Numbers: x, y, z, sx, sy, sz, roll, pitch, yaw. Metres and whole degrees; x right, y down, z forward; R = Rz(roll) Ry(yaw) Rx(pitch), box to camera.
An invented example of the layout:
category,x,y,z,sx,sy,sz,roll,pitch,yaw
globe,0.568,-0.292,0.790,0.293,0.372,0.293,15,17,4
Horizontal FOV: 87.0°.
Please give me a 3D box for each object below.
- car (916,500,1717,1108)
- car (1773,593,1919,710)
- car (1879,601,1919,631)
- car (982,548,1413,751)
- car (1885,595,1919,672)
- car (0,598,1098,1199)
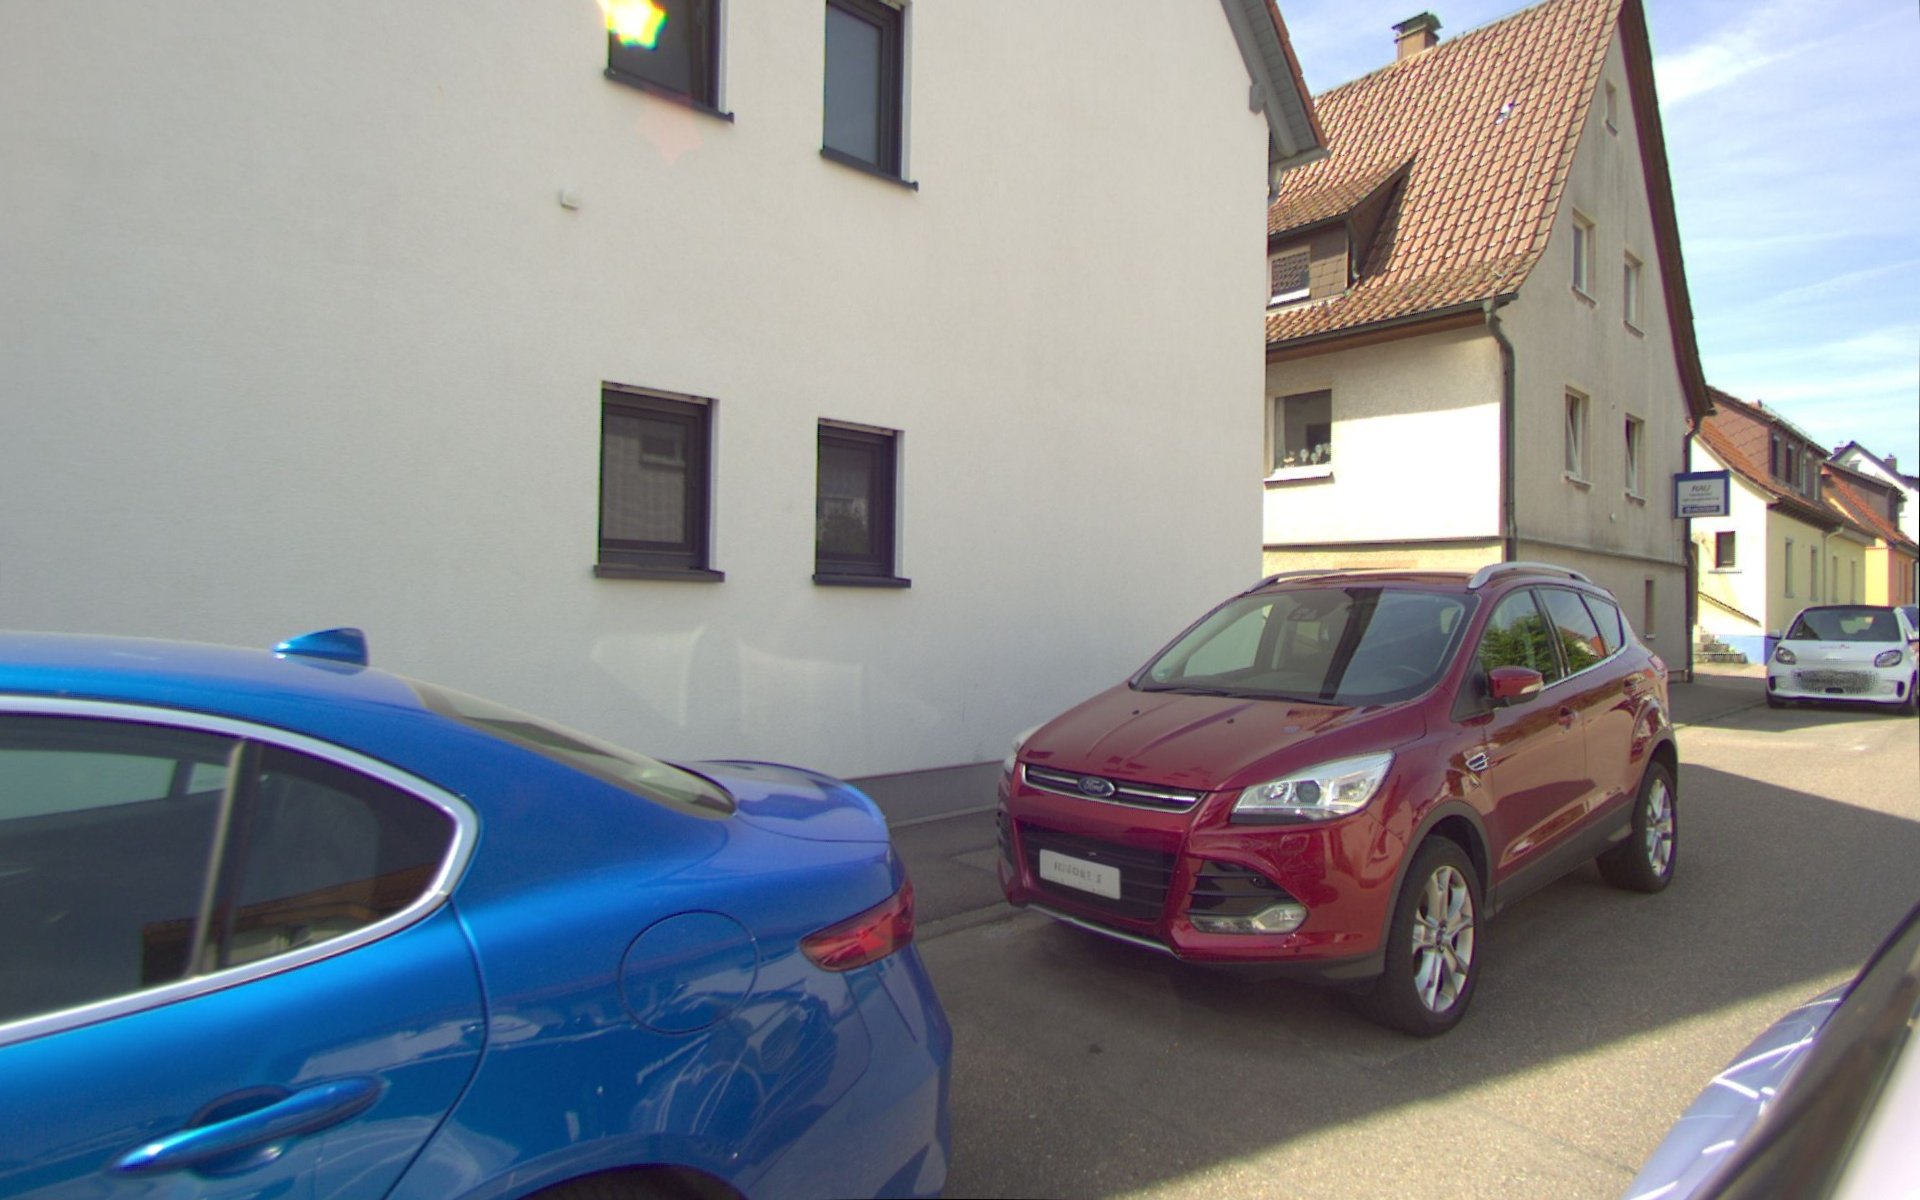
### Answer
category,x,y,z,sx,sy,sz,roll,pitch,yaw
car,1.974,0.592,4.936,4.109,1.722,1.879,0,-1,-40
car,13.658,0.704,15.282,2.988,1.579,1.676,0,-1,-42
car,54.330,0.882,56.373,1.812,1.674,4.309,0,-1,-32
car,2.525,0.468,11.650,1.966,1.866,4.520,1,-1,-43
car,22.185,0.714,22.622,4.178,1.620,1.731,0,-1,-41
car,-2.010,0.724,1.269,4.510,1.442,1.766,0,-1,-40
